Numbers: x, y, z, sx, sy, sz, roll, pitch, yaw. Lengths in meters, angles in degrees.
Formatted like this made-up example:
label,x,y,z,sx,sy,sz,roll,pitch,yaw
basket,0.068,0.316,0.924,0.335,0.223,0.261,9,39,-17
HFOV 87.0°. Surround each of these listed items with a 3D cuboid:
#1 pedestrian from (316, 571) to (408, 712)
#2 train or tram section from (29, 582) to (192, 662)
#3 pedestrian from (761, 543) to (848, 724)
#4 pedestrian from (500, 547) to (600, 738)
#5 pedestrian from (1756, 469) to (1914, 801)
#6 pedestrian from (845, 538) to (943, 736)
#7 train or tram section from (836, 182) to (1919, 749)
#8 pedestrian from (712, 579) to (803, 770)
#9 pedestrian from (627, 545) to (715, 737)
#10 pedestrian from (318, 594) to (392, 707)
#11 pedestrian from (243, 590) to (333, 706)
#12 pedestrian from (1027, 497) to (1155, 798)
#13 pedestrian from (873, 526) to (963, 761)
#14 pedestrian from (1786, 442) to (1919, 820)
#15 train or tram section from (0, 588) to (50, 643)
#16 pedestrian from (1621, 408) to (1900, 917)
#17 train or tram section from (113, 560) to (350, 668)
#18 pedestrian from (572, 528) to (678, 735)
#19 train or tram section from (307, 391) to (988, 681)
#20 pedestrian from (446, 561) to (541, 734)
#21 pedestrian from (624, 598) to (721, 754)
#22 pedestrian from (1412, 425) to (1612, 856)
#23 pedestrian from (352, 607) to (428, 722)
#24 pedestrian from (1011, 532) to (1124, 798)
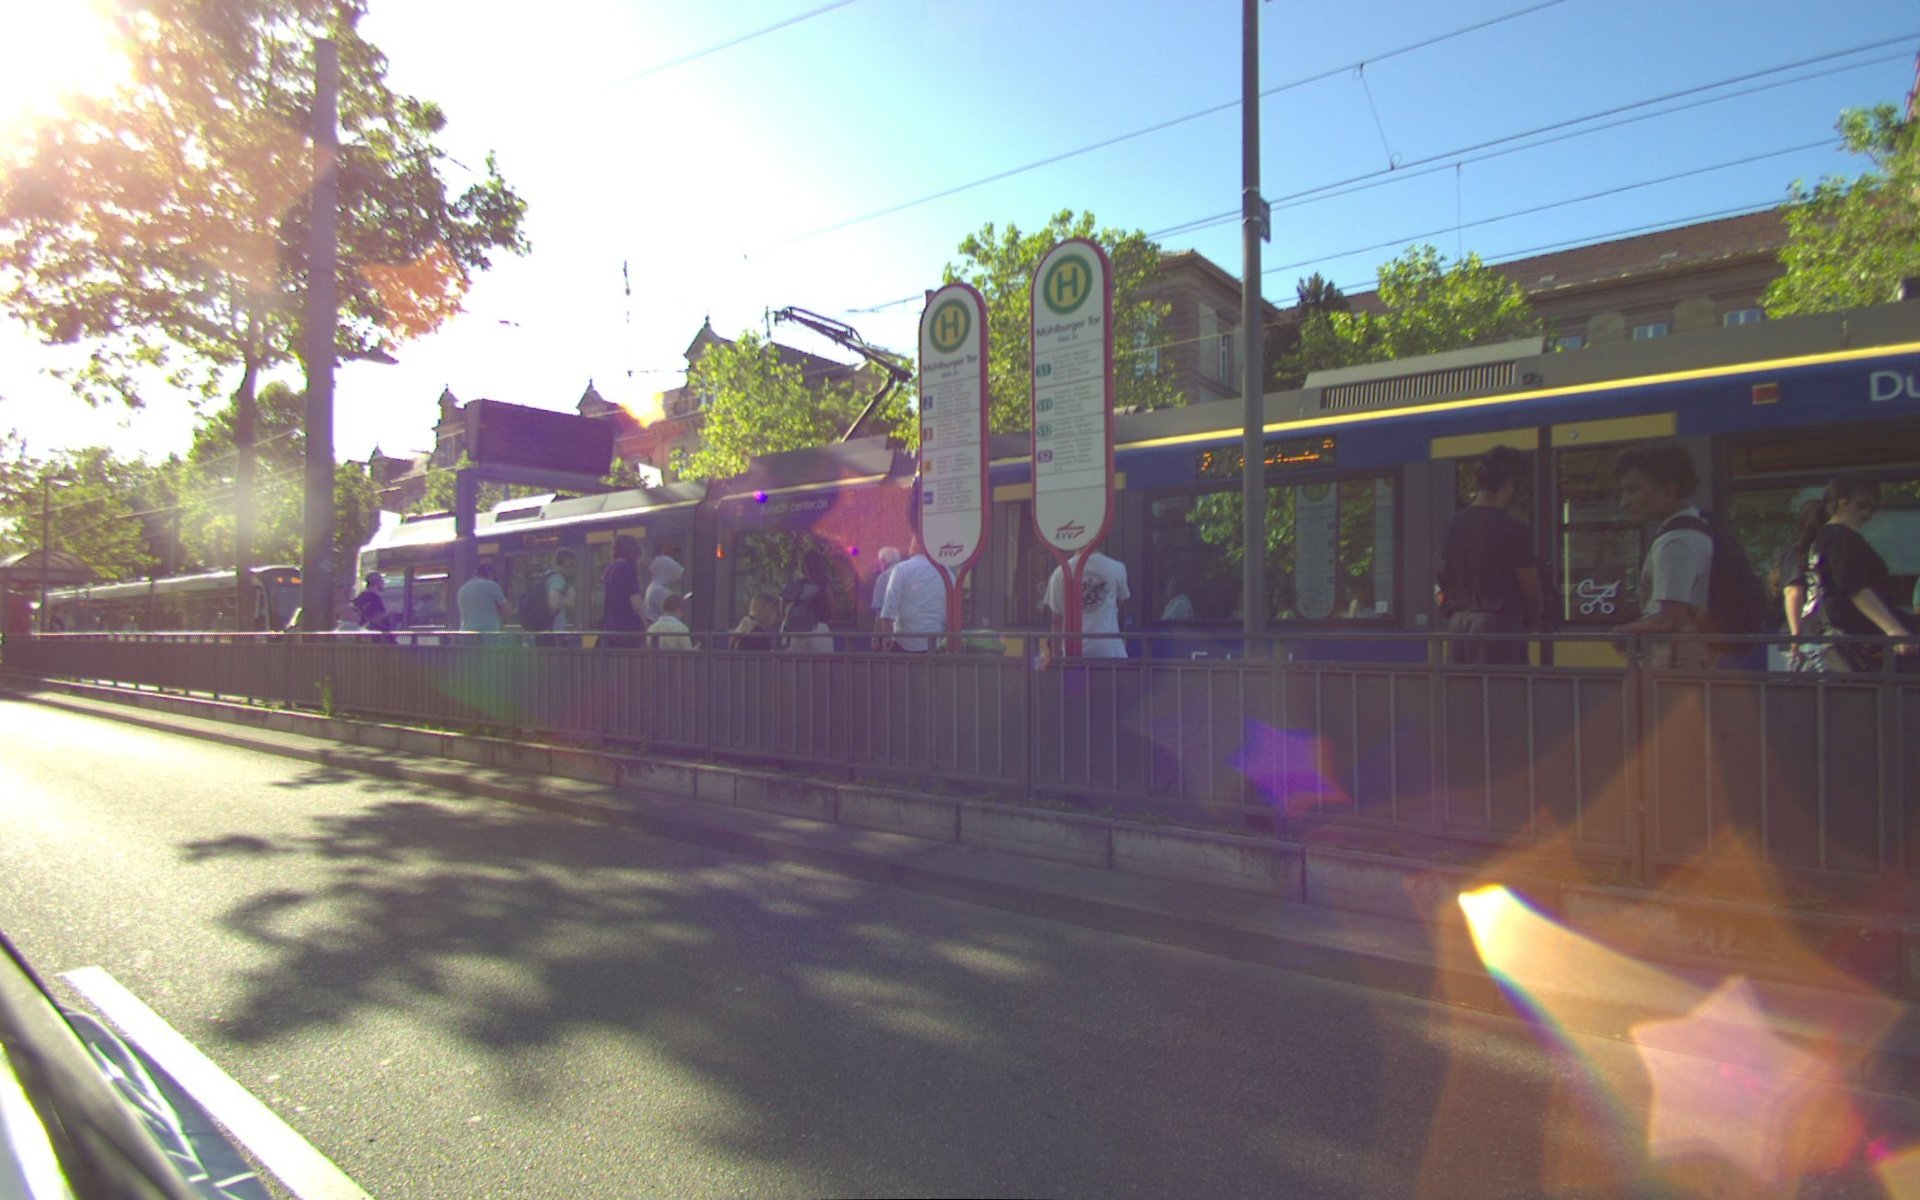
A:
label,x,y,z,sx,sy,sz,roll,pitch,yaw
pedestrian,-7.823,0.543,13.243,0.721,1.766,0.768,-2,-3,35
train or tram section,-43.029,1.184,50.818,18.254,3.460,2.843,-2,-1,39
pedestrian,-1.367,0.293,8.929,0.530,1.530,0.540,-2,-3,38
pedestrian,-3.845,0.391,9.503,0.570,1.709,0.654,-2,-3,39
pedestrian,4.828,0.190,5.623,0.544,1.715,0.603,-2,-3,34
pedestrian,-0.575,0.323,8.919,0.621,1.662,0.613,-2,-3,34
train or tram section,4.599,-0.774,8.501,13.097,3.285,2.886,-1,0,39
pedestrian,-1.475,0.529,7.375,0.506,1.326,0.412,-2,-3,37
pedestrian,-2.708,0.381,9.484,0.620,1.721,0.509,-2,-3,38
pedestrian,-7.266,0.600,12.157,0.603,1.309,0.529,-2,-3,35
pedestrian,-9.157,0.650,13.790,0.750,1.521,0.768,-2,-3,35
pedestrian,0.795,0.279,6.148,0.610,1.715,0.501,-2,-3,35
pedestrian,-0.333,0.329,7.788,0.498,1.715,0.613,1,-3,-24
pedestrian,4.519,0.149,4.866,0.745,1.715,0.627,-2,-3,35
train or tram section,-51.003,0.932,52.961,15.656,2.584,2.537,-2,-2,39
pedestrian,2.933,0.217,3.761,0.532,1.747,0.550,0,-2,-2
train or tram section,-28.862,0.695,39.338,18.193,3.460,2.821,-2,-1,39
pedestrian,-2.903,0.274,8.791,0.570,1.709,0.654,-2,-3,39
train or tram section,-6.717,-0.681,17.578,15.874,3.285,2.886,-1,0,39
pedestrian,-4.633,0.469,10.066,0.570,1.646,0.654,-2,-3,39
pedestrian,-2.325,0.599,8.192,0.530,1.201,0.540,-2,-3,38
pedestrian,2.429,0.171,4.477,0.530,1.747,0.551,1,-3,-32
pedestrian,-6.460,0.716,11.471,0.603,1.256,0.529,-2,-3,37
pedestrian,0.761,0.445,7.191,0.610,1.784,0.548,-2,-3,34
